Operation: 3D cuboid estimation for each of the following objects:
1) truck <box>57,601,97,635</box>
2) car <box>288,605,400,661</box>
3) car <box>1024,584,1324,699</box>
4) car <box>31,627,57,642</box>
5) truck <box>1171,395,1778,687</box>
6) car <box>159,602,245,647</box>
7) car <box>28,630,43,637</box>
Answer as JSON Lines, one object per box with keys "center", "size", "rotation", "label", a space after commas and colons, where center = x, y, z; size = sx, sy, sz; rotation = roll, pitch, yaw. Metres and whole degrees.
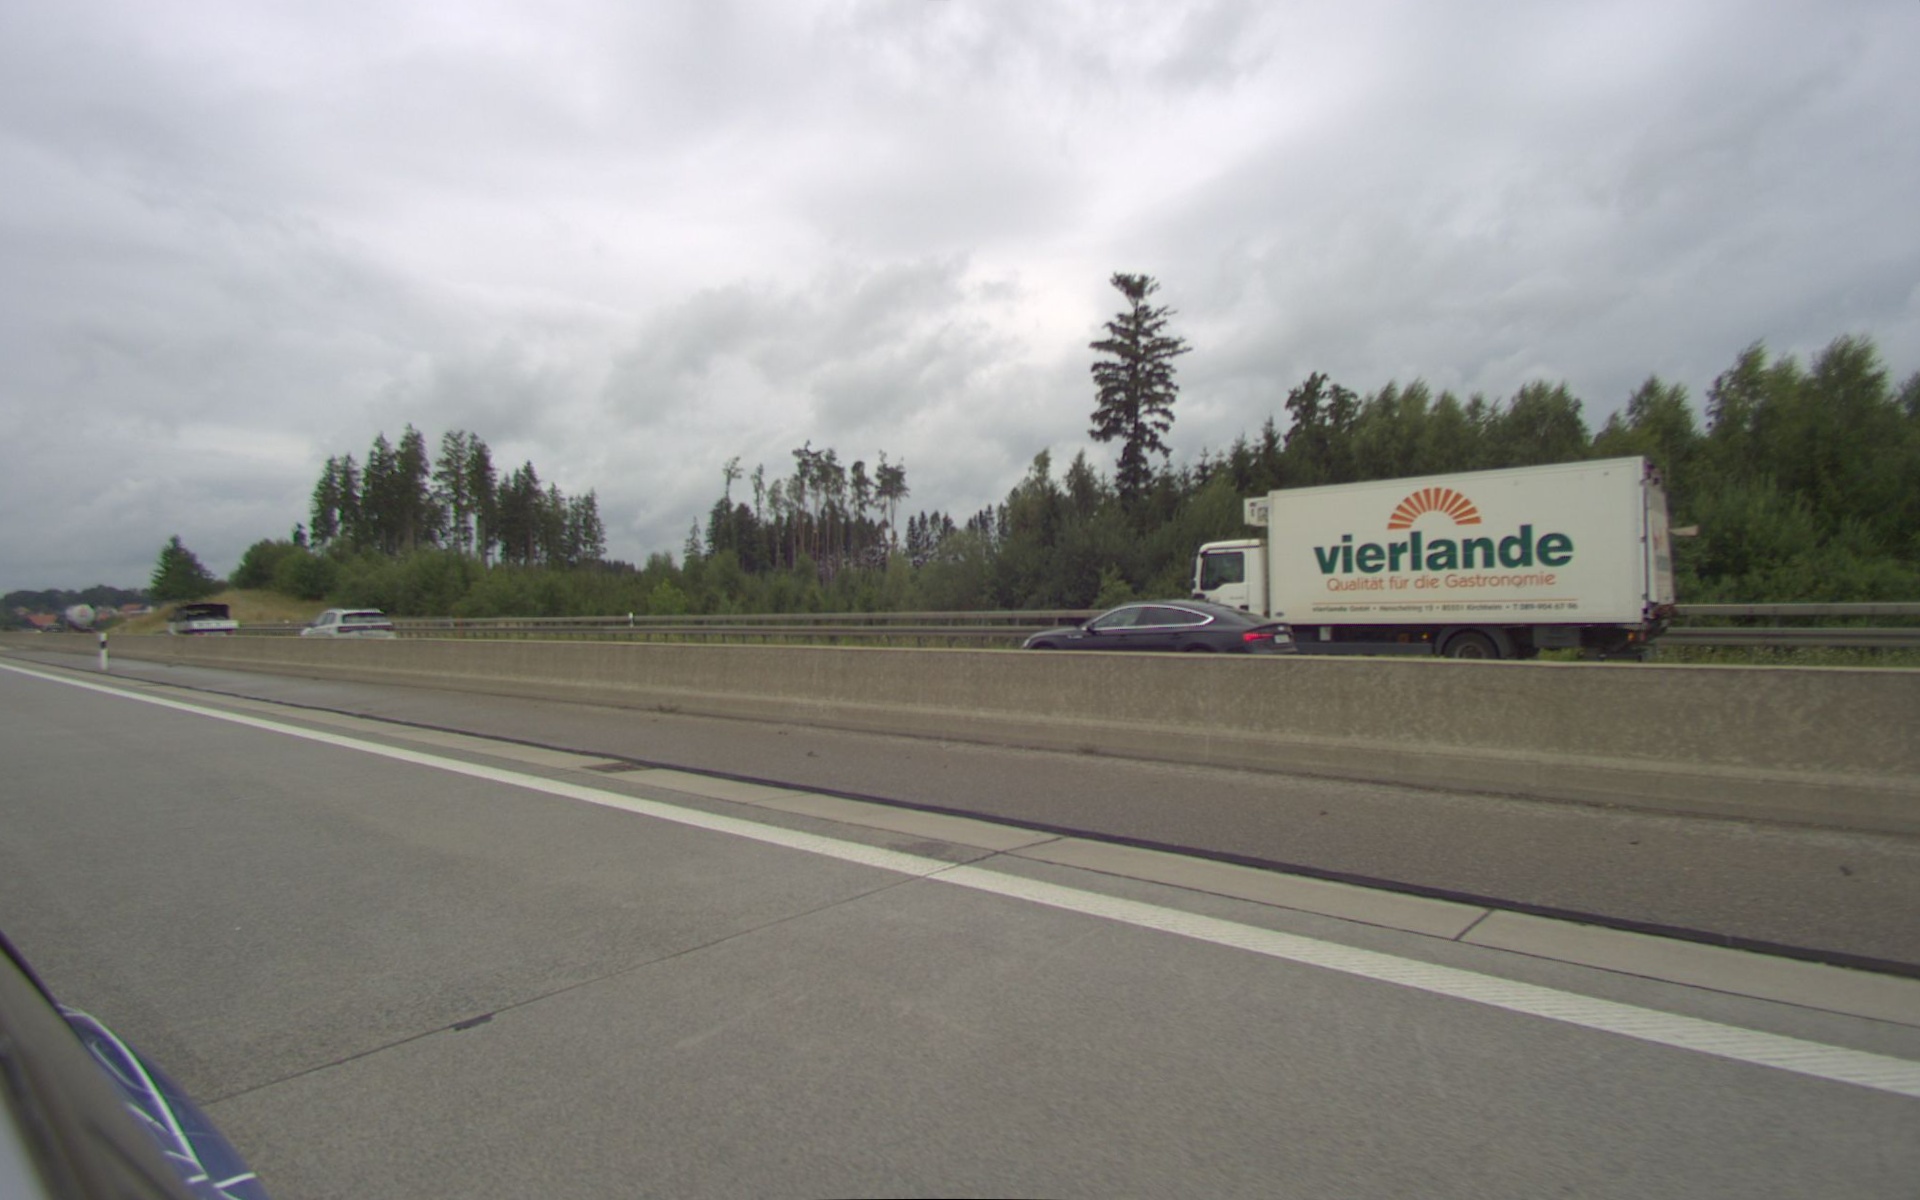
{"center": [-110.499, 2.249, 126.596], "size": [8.850, 4.163, 2.806], "rotation": [-1, 0, 43], "label": "truck"}
{"center": [-19.176, 0.995, 31.412], "size": [4.497, 1.578, 1.724], "rotation": [-1, 0, 42], "label": "car"}
{"center": [3.264, 0.607, 16.025], "size": [4.408, 1.578, 1.612], "rotation": [-1, 0, 41], "label": "car"}
{"center": [-102.205, 3.854, 112.933], "size": [5.091, 1.545, 1.808], "rotation": [-1, 0, 44], "label": "car"}
{"center": [8.349, -0.718, 17.514], "size": [8.895, 3.893, 2.869], "rotation": [-1, 0, 41], "label": "truck"}
{"center": [-43.570, 1.380, 58.091], "size": [7.515, 2.418, 2.593], "rotation": [-1, 0, 42], "label": "car"}
{"center": [-175.091, 6.394, 191.675], "size": [4.361, 1.297, 1.923], "rotation": [-1, 0, 45], "label": "car"}
